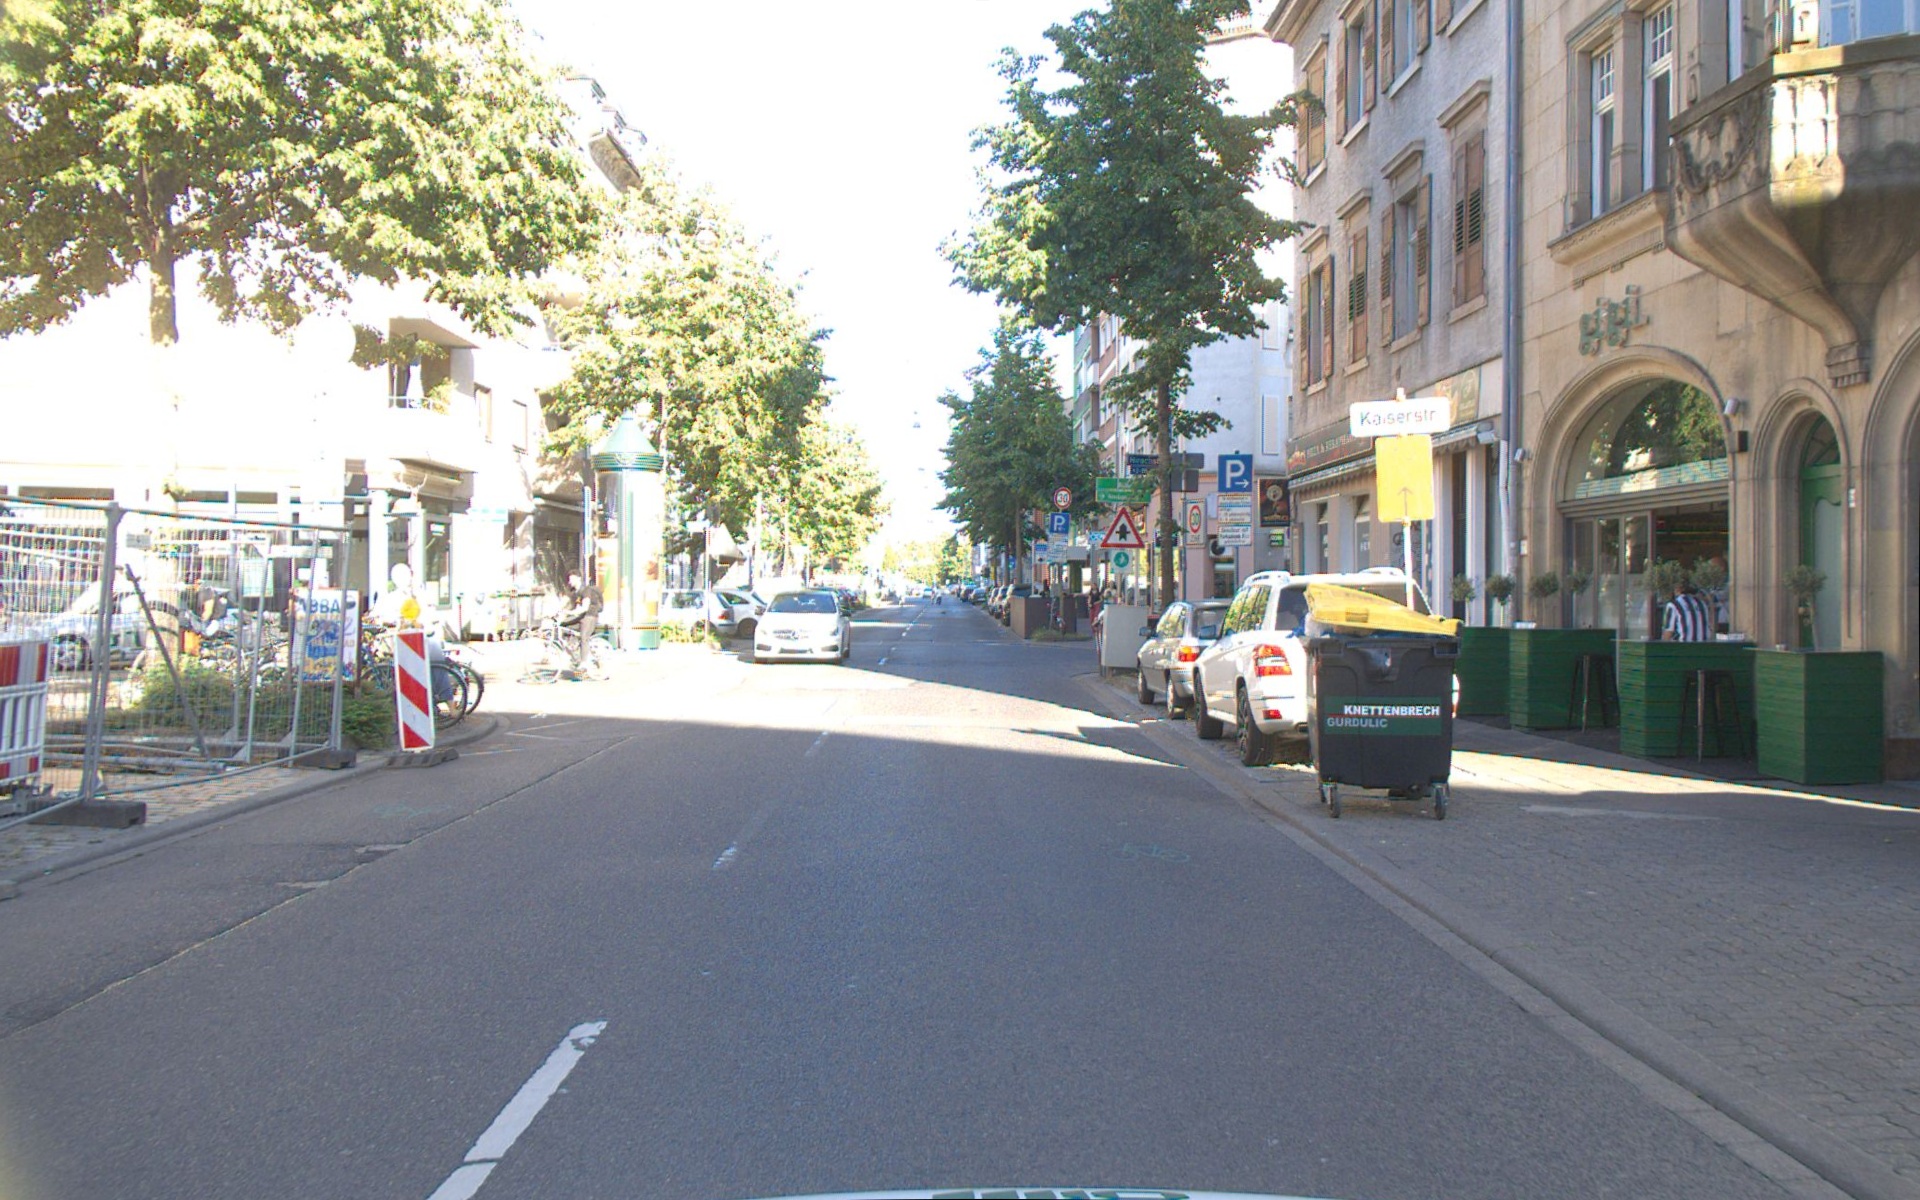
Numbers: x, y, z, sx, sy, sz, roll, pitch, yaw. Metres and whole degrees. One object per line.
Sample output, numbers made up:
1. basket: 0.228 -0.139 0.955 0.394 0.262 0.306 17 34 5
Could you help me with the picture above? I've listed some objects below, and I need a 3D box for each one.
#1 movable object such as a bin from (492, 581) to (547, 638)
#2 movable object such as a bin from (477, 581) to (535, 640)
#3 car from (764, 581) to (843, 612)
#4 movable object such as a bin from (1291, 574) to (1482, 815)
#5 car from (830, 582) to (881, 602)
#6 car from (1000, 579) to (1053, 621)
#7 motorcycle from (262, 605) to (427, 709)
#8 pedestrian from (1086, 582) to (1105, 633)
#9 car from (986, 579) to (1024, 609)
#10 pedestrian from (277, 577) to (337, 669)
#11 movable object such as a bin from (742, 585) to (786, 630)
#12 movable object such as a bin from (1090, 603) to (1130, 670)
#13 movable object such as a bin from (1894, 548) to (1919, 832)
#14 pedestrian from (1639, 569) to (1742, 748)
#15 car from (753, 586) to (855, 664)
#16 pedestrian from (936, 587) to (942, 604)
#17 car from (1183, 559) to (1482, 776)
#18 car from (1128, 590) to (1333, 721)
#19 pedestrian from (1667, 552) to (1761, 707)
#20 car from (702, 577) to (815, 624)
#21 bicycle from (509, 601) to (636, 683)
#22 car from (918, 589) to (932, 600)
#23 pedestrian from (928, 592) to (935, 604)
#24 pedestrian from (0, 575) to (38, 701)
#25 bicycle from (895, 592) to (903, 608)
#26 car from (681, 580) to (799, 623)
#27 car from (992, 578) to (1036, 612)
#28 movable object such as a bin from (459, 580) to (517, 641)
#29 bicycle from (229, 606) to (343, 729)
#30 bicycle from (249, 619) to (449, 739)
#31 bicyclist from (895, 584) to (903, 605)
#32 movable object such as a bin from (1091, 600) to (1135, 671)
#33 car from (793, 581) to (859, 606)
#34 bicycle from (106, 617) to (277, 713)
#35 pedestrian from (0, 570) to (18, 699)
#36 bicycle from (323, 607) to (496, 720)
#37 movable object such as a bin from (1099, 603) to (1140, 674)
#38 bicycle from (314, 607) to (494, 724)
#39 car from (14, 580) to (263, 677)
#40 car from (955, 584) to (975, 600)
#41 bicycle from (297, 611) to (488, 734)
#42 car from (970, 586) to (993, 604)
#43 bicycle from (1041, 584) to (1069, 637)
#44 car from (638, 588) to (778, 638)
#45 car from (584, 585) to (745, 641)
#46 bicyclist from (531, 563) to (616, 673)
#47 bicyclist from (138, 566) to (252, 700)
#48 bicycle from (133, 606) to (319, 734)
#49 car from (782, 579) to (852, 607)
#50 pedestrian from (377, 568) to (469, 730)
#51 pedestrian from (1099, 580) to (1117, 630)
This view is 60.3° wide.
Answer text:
1. movable object such as a bin: -11.799 0.237 44.367 1.148 1.511 1.314 0 1 -3
2. movable object such as a bin: -11.719 0.258 42.738 1.148 1.511 1.314 0 1 -3
3. car: -8.048 -0.176 85.231 3.906 1.526 1.999 0 1 -2
4. movable object such as a bin: 2.976 0.623 11.717 1.118 1.589 1.460 -1 0 7
5. car: -8.190 -0.669 130.201 3.906 1.526 1.999 0 1 -2
6. car: 2.695 -0.023 67.499 1.953 1.637 4.000 0 1 -1
7. motorcycle: -7.666 0.711 20.670 1.820 1.251 0.755 1 0 -12
8. pedestrian: 4.496 0.235 54.971 0.536 1.678 0.664 0 1 -4
9. car: 2.517 -0.333 93.509 1.953 1.637 4.000 0 1 -1
10. pedestrian: -11.982 0.409 30.351 0.757 1.671 0.688 0 1 32
11. movable object such as a bin: -6.653 0.247 56.248 1.307 1.504 1.480 0 1 -1
12. movable object such as a bin: 2.750 0.670 30.369 0.646 1.200 0.739 0 1 -3
13. movable object such as a bin: 6.199 0.520 9.151 1.181 1.656 1.497 -1 0 -2
14. pedestrian: 6.595 0.512 14.958 0.598 1.567 0.699 -1 0 -1
15. car: -3.155 0.466 34.146 1.766 1.460 4.408 -1 0 -2
16. pedestrian: -1.815 -0.414 143.463 0.534 1.498 0.546 -1 0 -3
17. car: 3.396 0.536 15.997 1.785 1.708 4.600 -3 1 0
18. car: 3.355 0.628 21.317 1.785 1.415 4.300 -3 1 -2
19. pedestrian: 7.926 0.304 17.394 0.683 1.593 0.612 -1 0 -2
20. car: -7.591 0.005 62.470 3.903 1.724 2.001 0 1 4
21. bicycle: -6.246 0.653 26.761 0.707 1.241 2.028 0 1 36
22. car: -4.776 -0.721 225.953 1.756 1.436 4.000 0 1 -1
23. pedestrian: -2.477 -0.194 143.487 0.534 1.044 0.546 -1 0 -3
24. pedestrian: -13.183 0.510 22.695 0.641 1.696 0.656 0 1 10
25. bicycle: -4.623 0.007 125.074 0.549 1.200 1.628 0 0 -1
26. car: -7.909 0.044 59.666 3.903 1.482 1.869 0 1 4
27. car: 2.625 -0.260 80.872 1.953 1.637 4.000 0 1 -1
28. movable object such as a bin: -11.774 0.250 41.281 1.117 1.511 1.235 0 1 -3
29. bicycle: -7.571 0.722 18.544 0.595 1.274 1.765 1 1 -43
30. bicycle: -6.246 0.805 16.967 1.820 1.190 0.599 1 0 -8
31. bicyclist: -4.630 -0.397 125.091 0.549 1.575 0.728 0 0 -1
32. movable object such as a bin: 2.740 0.634 29.626 0.691 1.244 0.680 0 1 -3
33. car: -8.257 -0.396 102.243 3.906 1.526 1.999 0 1 -2
34. bicycle: -9.378 0.766 20.277 0.750 1.077 1.956 0 1 19
35. pedestrian: -13.705 0.481 23.203 0.641 1.791 0.656 0 1 -9
36. bicycle: -6.400 0.737 19.292 1.820 1.274 0.599 1 0 -8
37. movable object such as a bin: 2.772 0.667 28.789 0.609 1.200 0.711 0 1 -3
38. bicycle: -6.245 0.732 18.654 1.820 1.274 0.599 1 0 -8
39. car: -15.090 0.493 30.622 3.931 1.639 1.987 -1 0 -22
40. car: 0.459 -0.791 168.337 1.953 1.534 3.999 0 0 -1
41. bicycle: -6.027 0.767 17.643 1.820 1.274 0.599 1 0 -8
42. car: 1.934 -0.423 148.864 1.953 1.534 3.999 0 0 -1
43. bicycle: 2.748 0.294 47.835 0.549 1.465 1.628 -6 1 -1
44. car: -7.496 0.365 49.560 3.906 1.414 1.999 0 1 -2
45. car: -7.761 0.316 43.768 3.906 1.414 1.999 0 1 -2
46. bicyclist: -6.243 0.276 26.761 0.707 1.722 1.153 0 0 36
47. bicyclist: -9.361 0.384 20.273 0.750 1.587 1.041 0 0 19
48. bicycle: -7.734 0.719 17.442 1.749 1.274 0.601 1 0 11
49. car: -8.258 -0.413 95.998 3.906 1.526 1.999 0 1 -2
50. pedestrian: -5.930 0.518 18.247 0.785 1.737 0.758 1 0 -34
51. pedestrian: 4.992 0.157 55.770 0.535 1.678 0.664 0 1 -1
